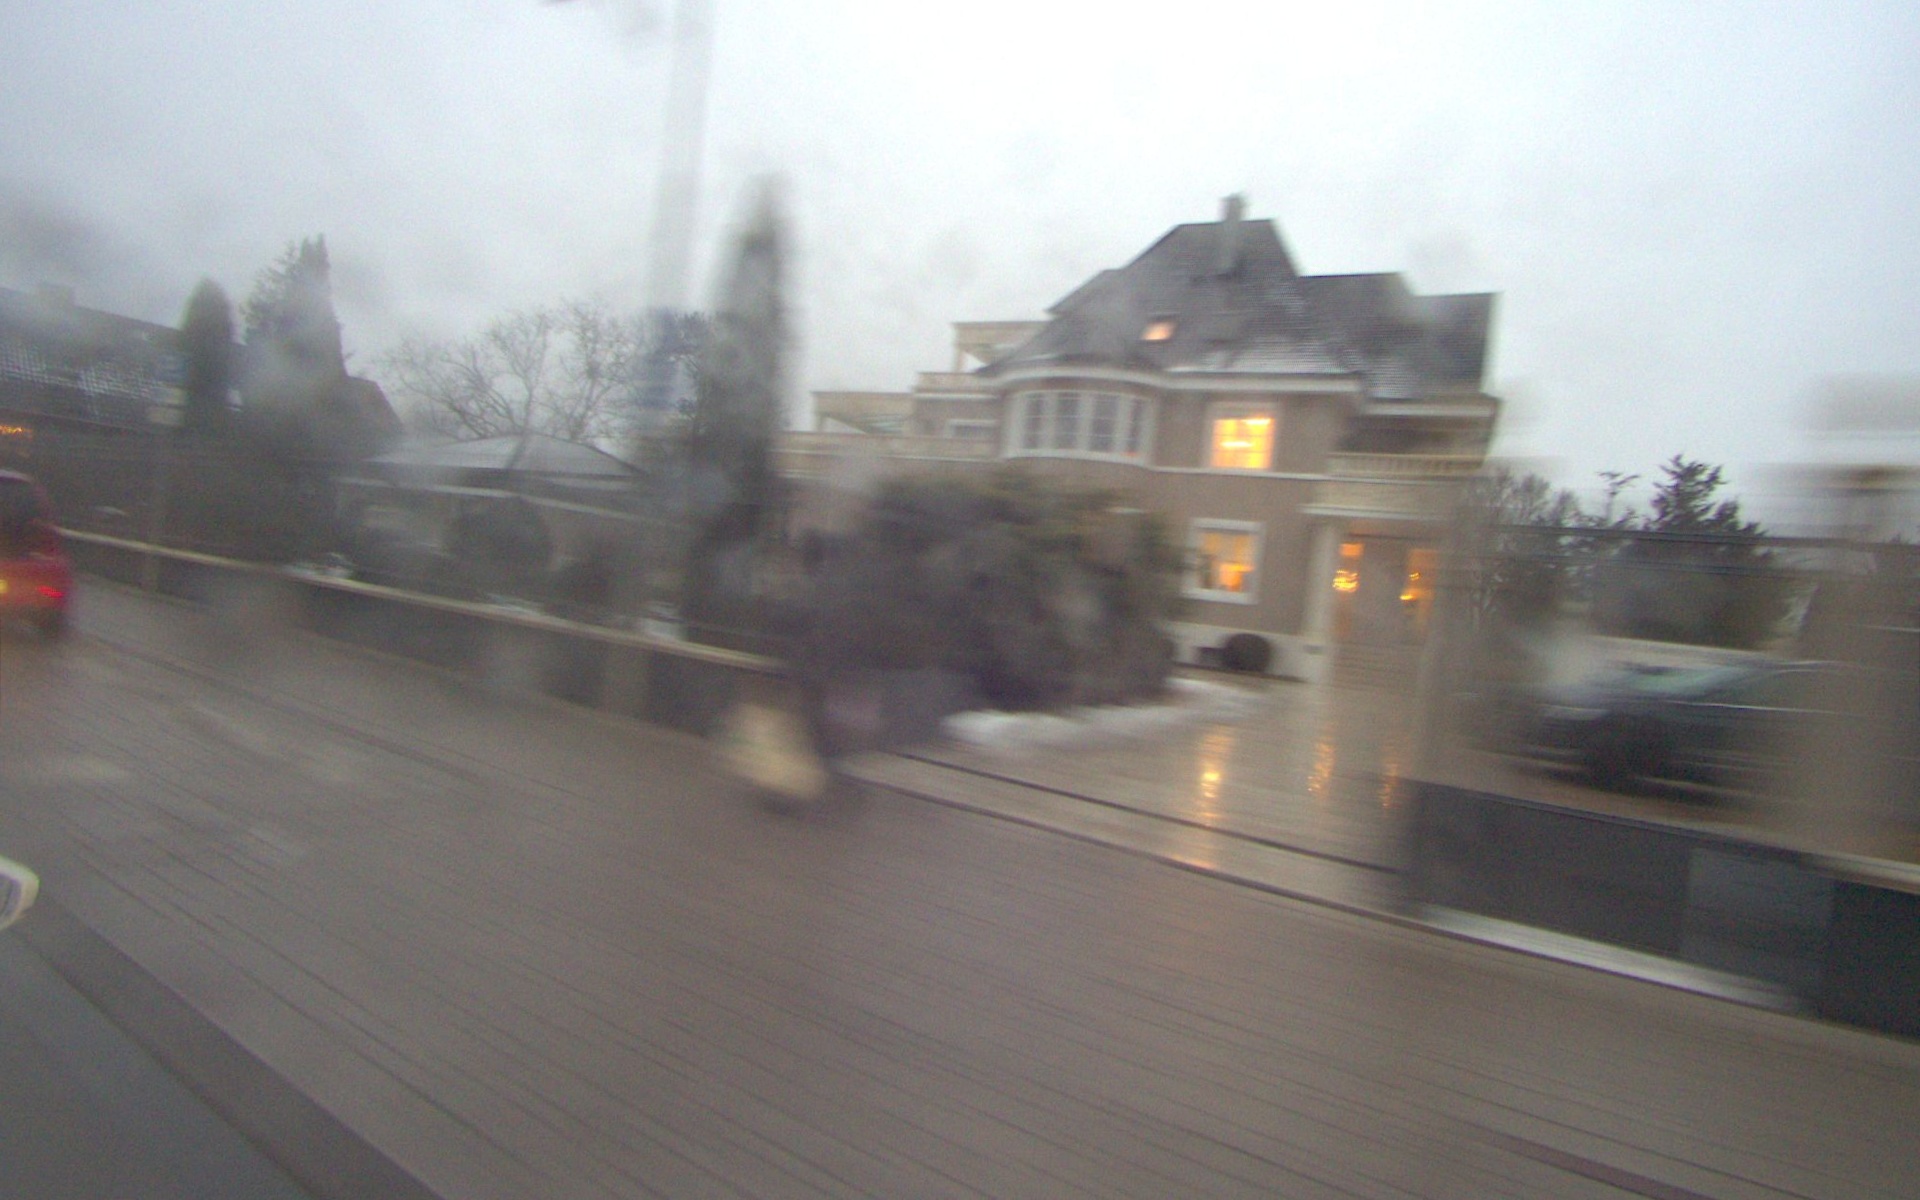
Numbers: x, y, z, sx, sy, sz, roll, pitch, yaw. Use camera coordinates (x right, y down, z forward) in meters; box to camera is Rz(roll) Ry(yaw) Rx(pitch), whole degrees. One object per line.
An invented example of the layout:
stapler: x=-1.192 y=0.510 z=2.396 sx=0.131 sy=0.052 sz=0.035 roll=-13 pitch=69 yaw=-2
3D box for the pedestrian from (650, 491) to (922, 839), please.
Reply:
pedestrian: x=-1.010 y=0.329 z=5.889 sx=1.039 sy=1.765 sz=0.987 roll=7 pitch=3 yaw=33

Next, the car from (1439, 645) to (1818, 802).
car: x=8.843 y=1.559 z=13.711 sx=3.932 sy=1.392 sz=1.807 roll=7 pitch=1 yaw=30

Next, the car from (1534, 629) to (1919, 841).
car: x=8.807 y=1.416 z=10.958 sx=4.155 sy=1.683 sz=1.945 roll=7 pitch=1 yaw=26

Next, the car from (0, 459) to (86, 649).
car: x=-9.381 y=-0.530 z=8.943 sx=3.336 sy=1.562 sz=1.647 roll=7 pitch=4 yaw=34
